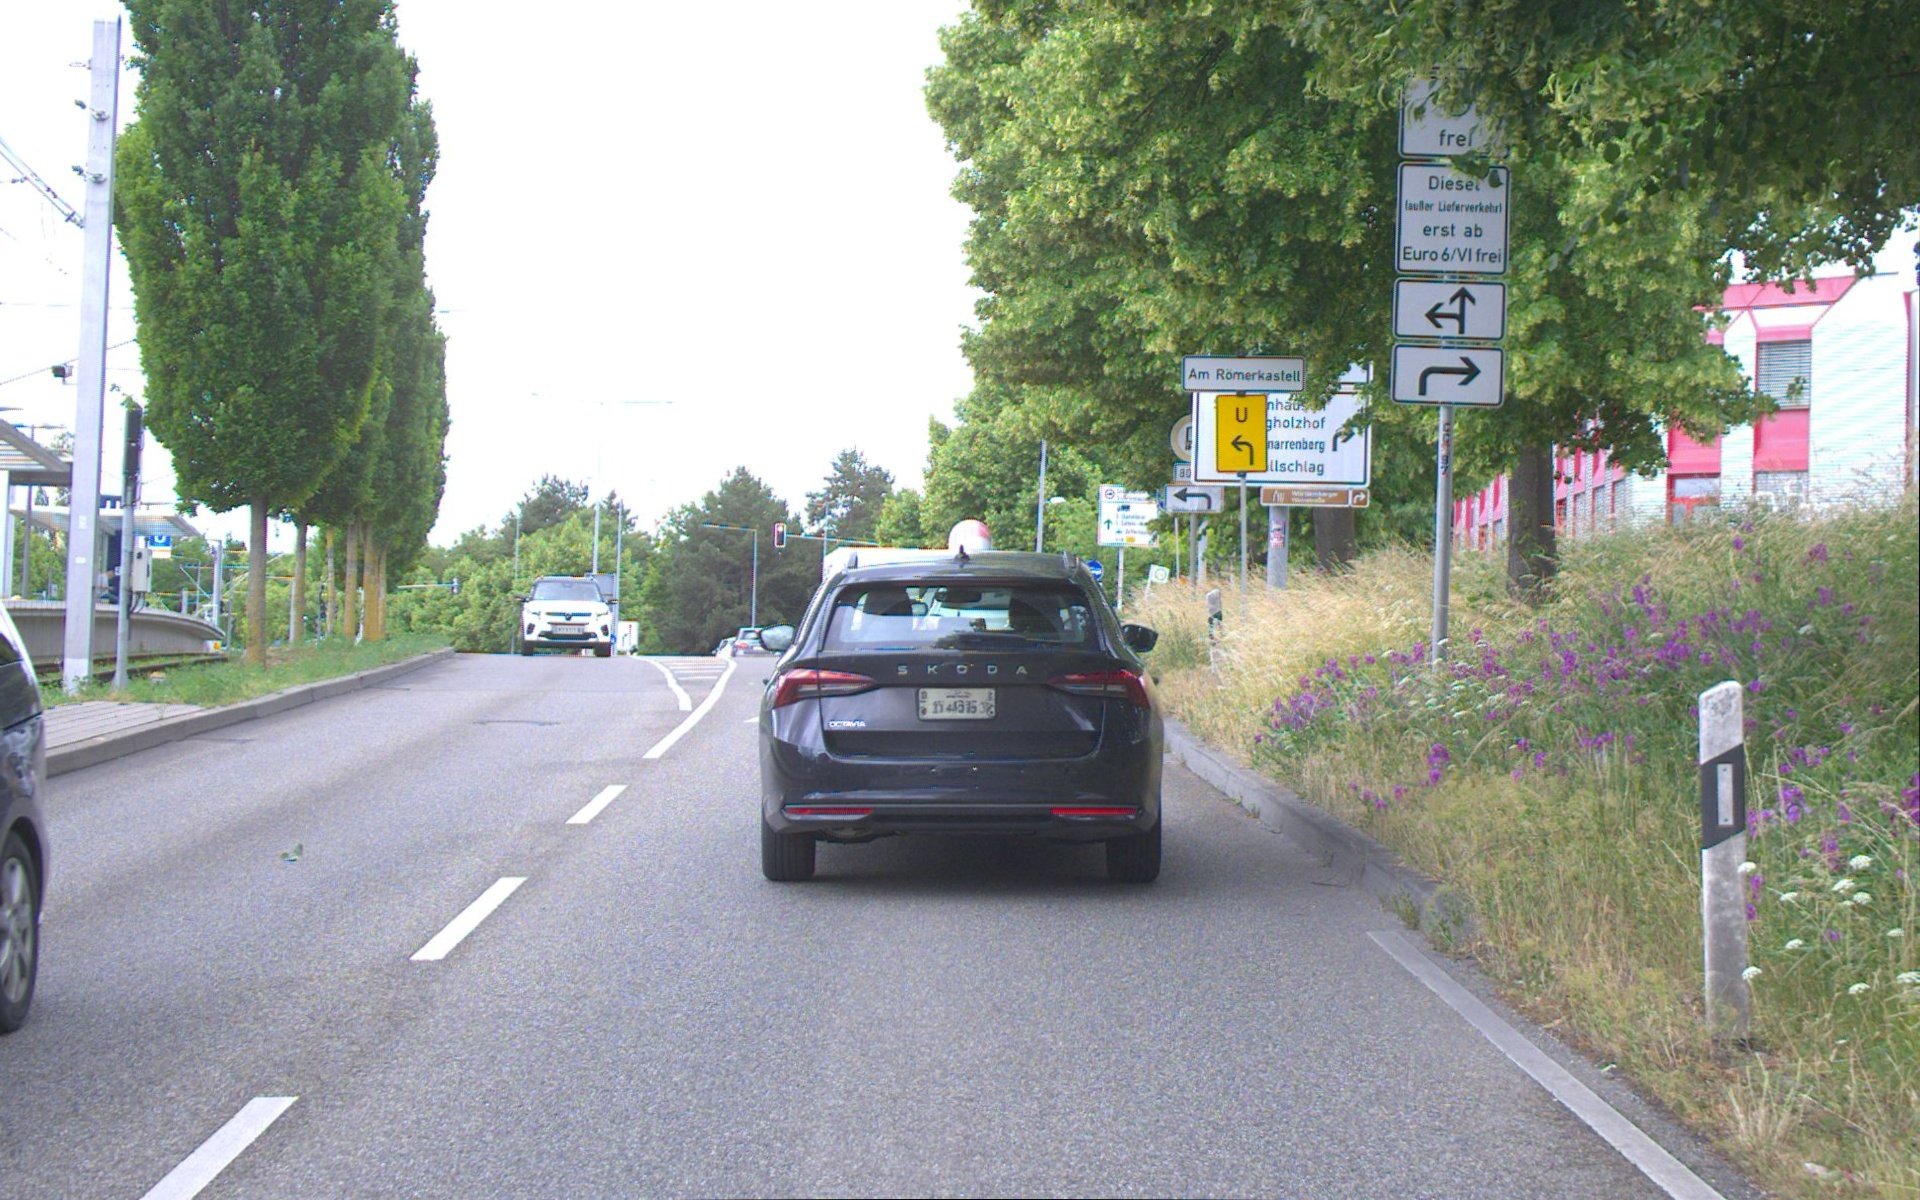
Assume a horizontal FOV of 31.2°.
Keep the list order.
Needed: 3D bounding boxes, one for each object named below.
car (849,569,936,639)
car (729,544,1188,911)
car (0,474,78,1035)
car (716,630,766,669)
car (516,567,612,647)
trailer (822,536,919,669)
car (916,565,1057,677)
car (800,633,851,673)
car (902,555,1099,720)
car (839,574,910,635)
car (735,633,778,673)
[{"bbox_3d":[-1.548,0.067,77.407,1.698,1.481,4.001,1,0,-4],"label":"car"},{"bbox_3d":[0.108,0.485,16.212,1.836,1.427,4.278,2,1,3],"label":"car"},{"bbox_3d":[-3.692,0.466,8.922,1.823,1.651,4.246,1,1,-2],"label":"car"},{"bbox_3d":[-8.540,1.935,133.714,1.721,1.417,4.357,1,-2,-7],"label":"car"},{"bbox_3d":[-7.821,0.116,68.203,1.715,1.516,3.745,0,1,-4],"label":"car"},{"bbox_3d":[-2.966,0.148,112.127,2.565,3.694,7.763,1,-5,-6],"label":"trailer"},{"bbox_3d":[0.328,0.281,47.274,1.718,1.452,3.697,1,0,-3],"label":"car"},{"bbox_3d":[-5.003,1.967,127.406,1.811,1.349,4.118,1,0,-3],"label":"car"},{"bbox_3d":[0.332,0.318,32.437,1.623,1.452,3.689,1,0,-3],"label":"car"},{"bbox_3d":[-2.211,0.128,87.688,1.671,1.443,4.489,1,-1,-3],"label":"car"},{"bbox_3d":[-7.394,1.920,124.769,1.525,1.349,3.491,1,1,-4],"label":"car"}]
